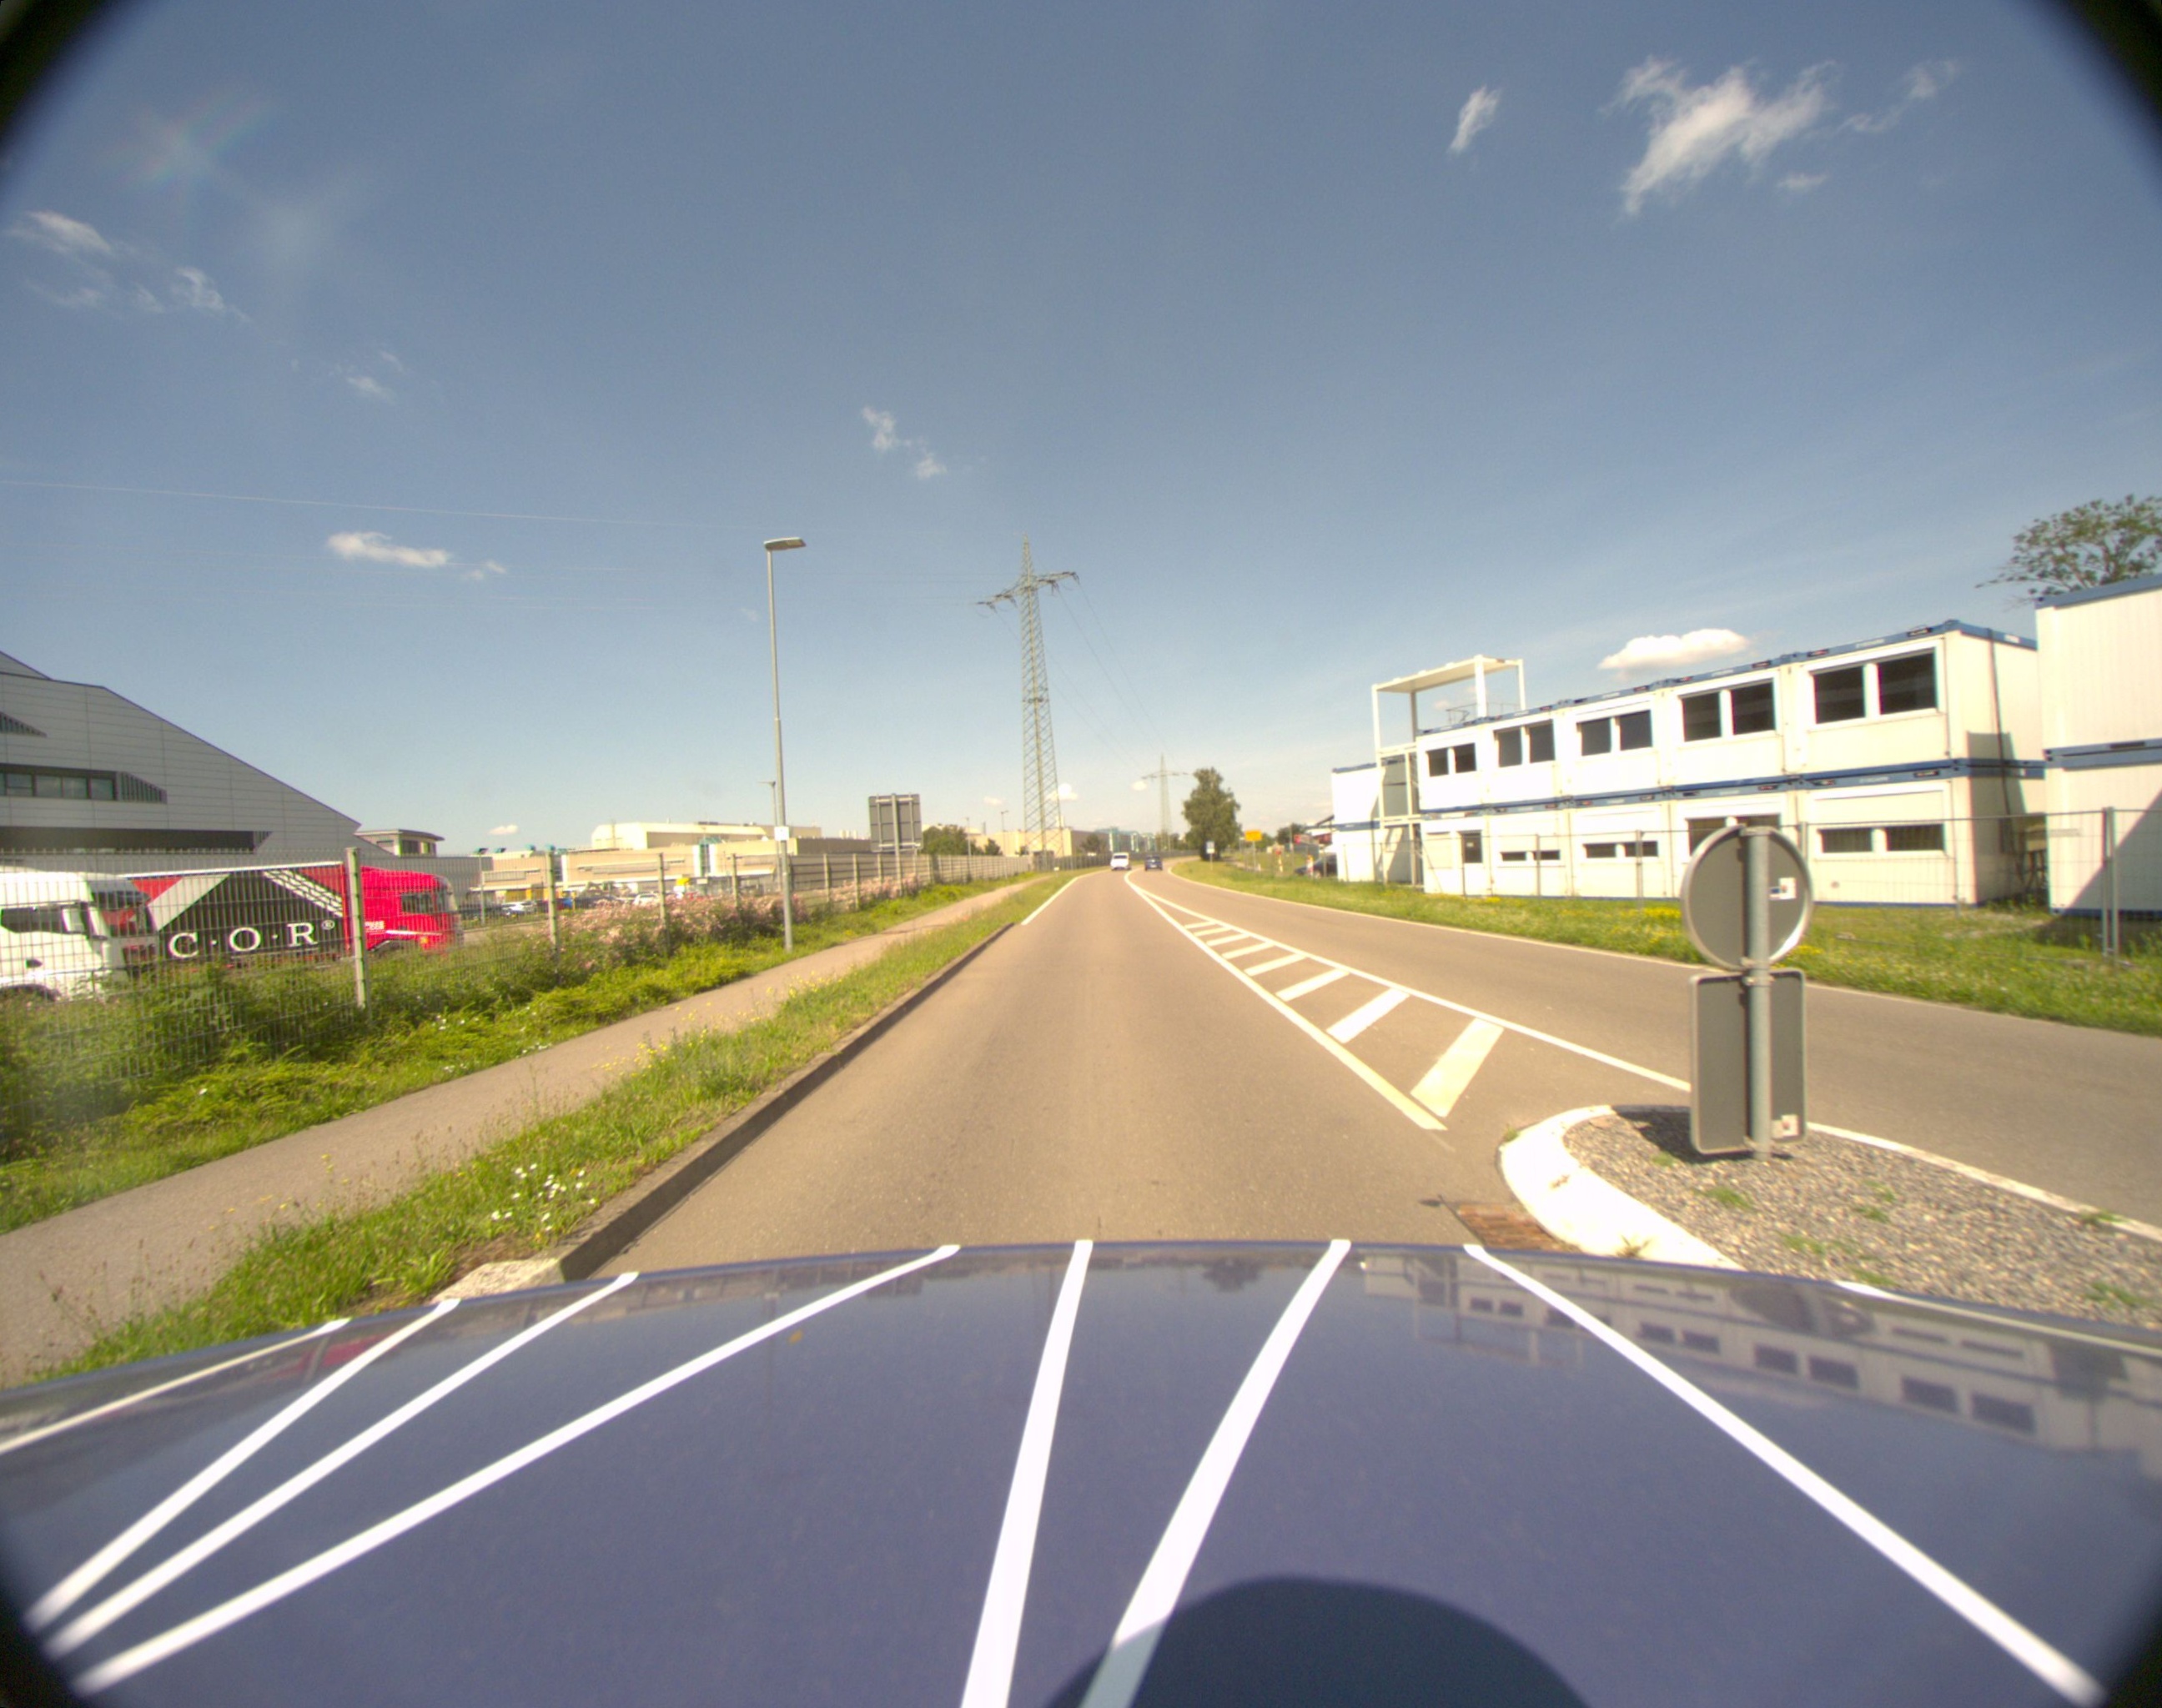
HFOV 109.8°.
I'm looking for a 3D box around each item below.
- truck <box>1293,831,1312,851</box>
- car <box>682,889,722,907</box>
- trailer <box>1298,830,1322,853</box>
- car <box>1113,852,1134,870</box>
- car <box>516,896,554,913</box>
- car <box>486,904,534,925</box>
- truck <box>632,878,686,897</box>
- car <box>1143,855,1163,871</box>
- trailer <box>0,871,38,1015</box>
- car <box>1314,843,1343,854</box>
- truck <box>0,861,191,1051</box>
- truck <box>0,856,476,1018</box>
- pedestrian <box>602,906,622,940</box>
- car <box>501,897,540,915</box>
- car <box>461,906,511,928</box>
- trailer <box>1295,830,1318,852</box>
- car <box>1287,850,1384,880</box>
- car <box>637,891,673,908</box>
[{"bbox_3d":[44.290,-2.607,151.979,3.106,3.624,10.603,-2,1,14],"label":"truck"},{"bbox_3d":[-37.625,4.368,75.467,3.148,1.525,1.456,-4,0,7],"label":"car"},{"bbox_3d":[38.525,-2.145,128.131,3.404,3.624,8.666,-2,1,14],"label":"trailer"},{"bbox_3d":[4.484,0.721,79.968,1.835,1.796,4.832,-2,0,8],"label":"car"},{"bbox_3d":[-58.238,5.389,81.082,3.053,1.525,1.472,-4,0,7],"label":"car"},{"bbox_3d":[-49.017,5.173,65.290,3.053,1.525,1.472,-4,0,7],"label":"car"},{"bbox_3d":[-86.254,6.742,155.557,1.997,3.119,11.862,-4,0,13],"label":"truck"},{"bbox_3d":[7.133,0.854,74.804,1.706,1.473,4.002,-2,1,8],"label":"car"},{"bbox_3d":[-36.045,2.814,20.458,8.728,4.271,3.022,-3,1,-31],"label":"trailer"},{"bbox_3d":[36.906,-0.824,113.265,3.993,1.335,1.749,-3,0,14],"label":"car"},{"bbox_3d":[-27.982,2.477,16.352,10.990,4.148,2.816,-3,1,-31],"label":"truck"},{"bbox_3d":[-27.622,2.414,25.504,10.990,4.232,3.021,-3,1,-31],"label":"truck"},{"bbox_3d":[-23.426,3.453,37.939,0.484,1.643,0.574,-4,1,6],"label":"pedestrian"},{"bbox_3d":[-57.930,5.387,78.538,3.053,1.525,1.472,-4,0,7],"label":"car"},{"bbox_3d":[-49.172,5.206,62.809,3.053,1.525,1.472,-4,0,7],"label":"car"},{"bbox_3d":[41.307,-2.367,139.580,3.295,3.624,14.938,-2,1,14],"label":"trailer"},{"bbox_3d":[14.967,0.641,44.813,4.984,1.408,1.999,-3,0,-8],"label":"car"},{"bbox_3d":[-47.250,5.045,84.258,3.053,1.525,1.472,-4,0,7],"label":"car"}]
